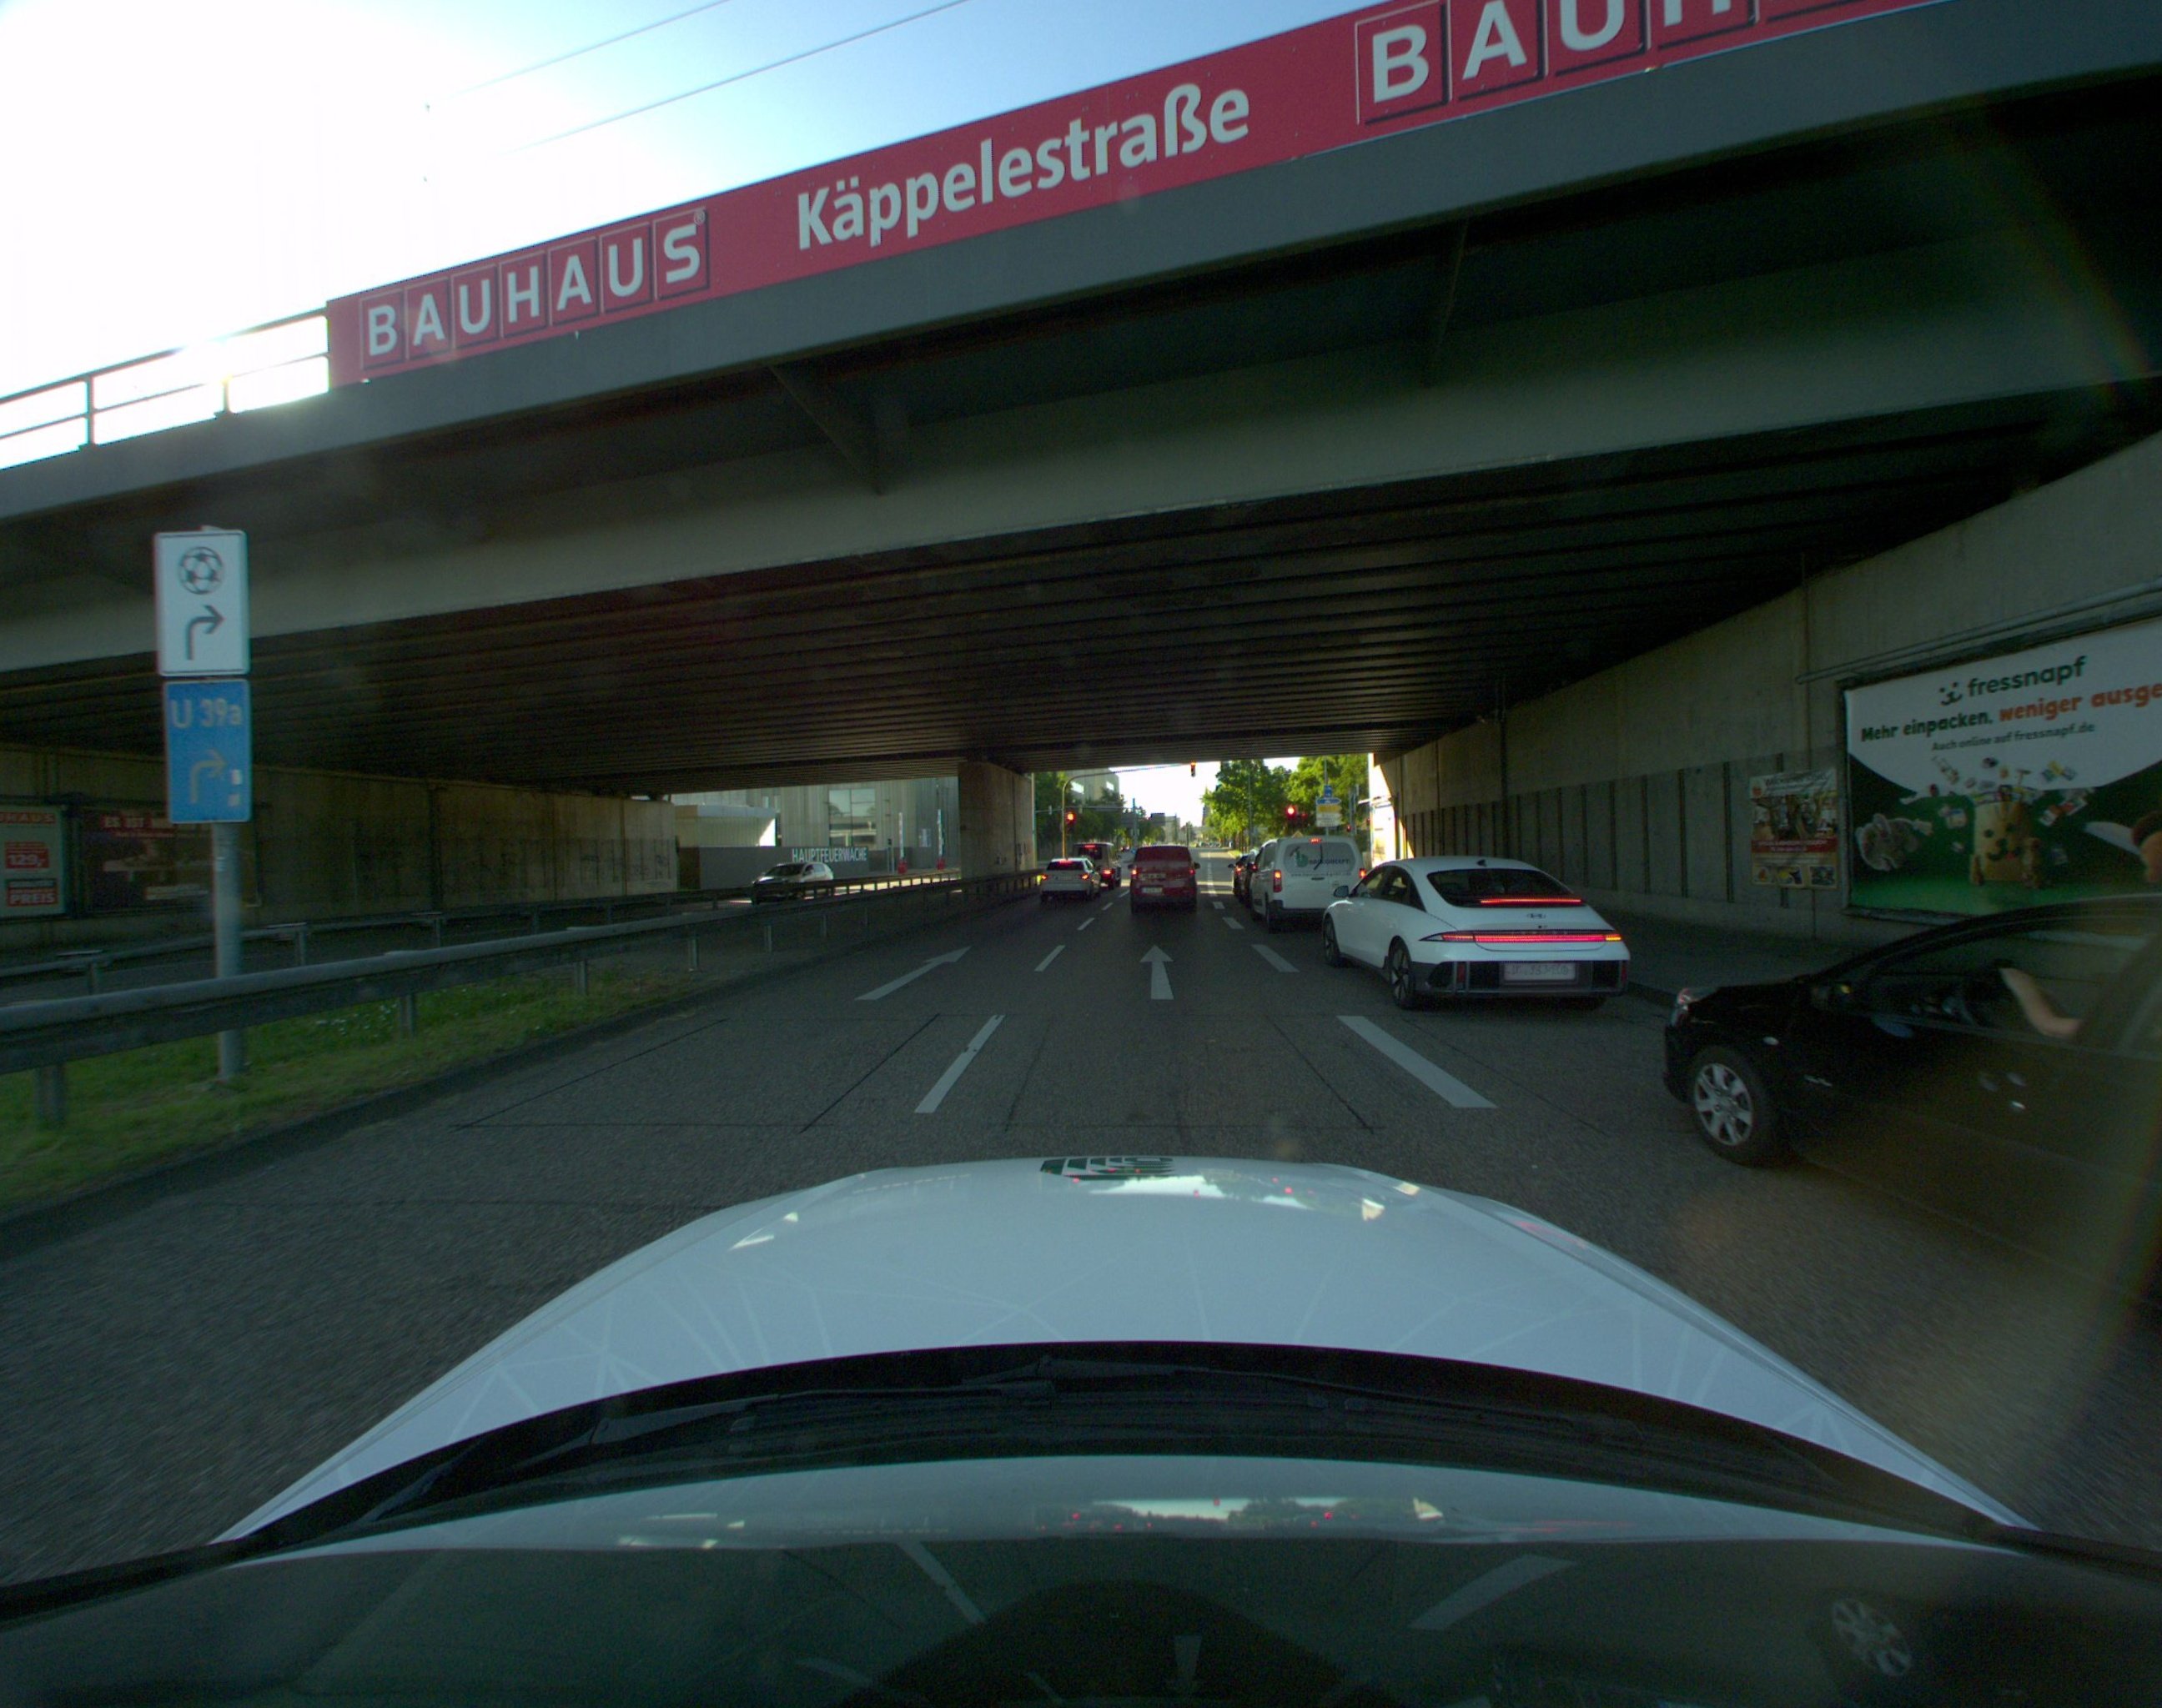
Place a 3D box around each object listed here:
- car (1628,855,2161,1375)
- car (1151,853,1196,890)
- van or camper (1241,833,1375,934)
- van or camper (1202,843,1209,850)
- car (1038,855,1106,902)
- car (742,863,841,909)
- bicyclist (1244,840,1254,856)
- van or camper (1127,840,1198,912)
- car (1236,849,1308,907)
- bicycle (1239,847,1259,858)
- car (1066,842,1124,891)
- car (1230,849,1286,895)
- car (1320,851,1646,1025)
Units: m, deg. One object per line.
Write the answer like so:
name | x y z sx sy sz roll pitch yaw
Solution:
car | 3.876 0.742 2.856 1.597 1.434 3.681 -1 0 3
car | 4.042 0.721 35.110 1.753 1.475 4.299 -2 -1 8
van or camper | 4.506 0.542 16.861 1.817 1.791 4.550 -1 0 4
van or camper | 37.241 -2.207 243.722 1.772 1.863 3.923 -4 -1 14
car | -0.244 0.794 27.753 1.698 1.452 3.752 -1 0 8
car | -11.178 1.183 31.791 1.772 1.645 4.212 -1 -1 9
bicyclist | 17.569 -0.665 85.194 0.916 1.584 0.772 -4 -1 12
van or camper | 2.383 0.581 22.947 1.744 1.813 3.968 -1 0 8
car | 5.480 0.660 23.724 1.698 1.522 3.752 -1 0 8
bicycle | 17.568 -0.149 85.188 1.976 0.960 0.777 -4 -1 12
car | 0.677 0.501 35.202 1.855 1.947 4.607 -1 0 8
car | 6.278 0.610 29.163 1.698 1.520 3.752 -1 0 8
car | 4.043 0.728 9.077 1.755 1.475 4.293 0 -1 4
